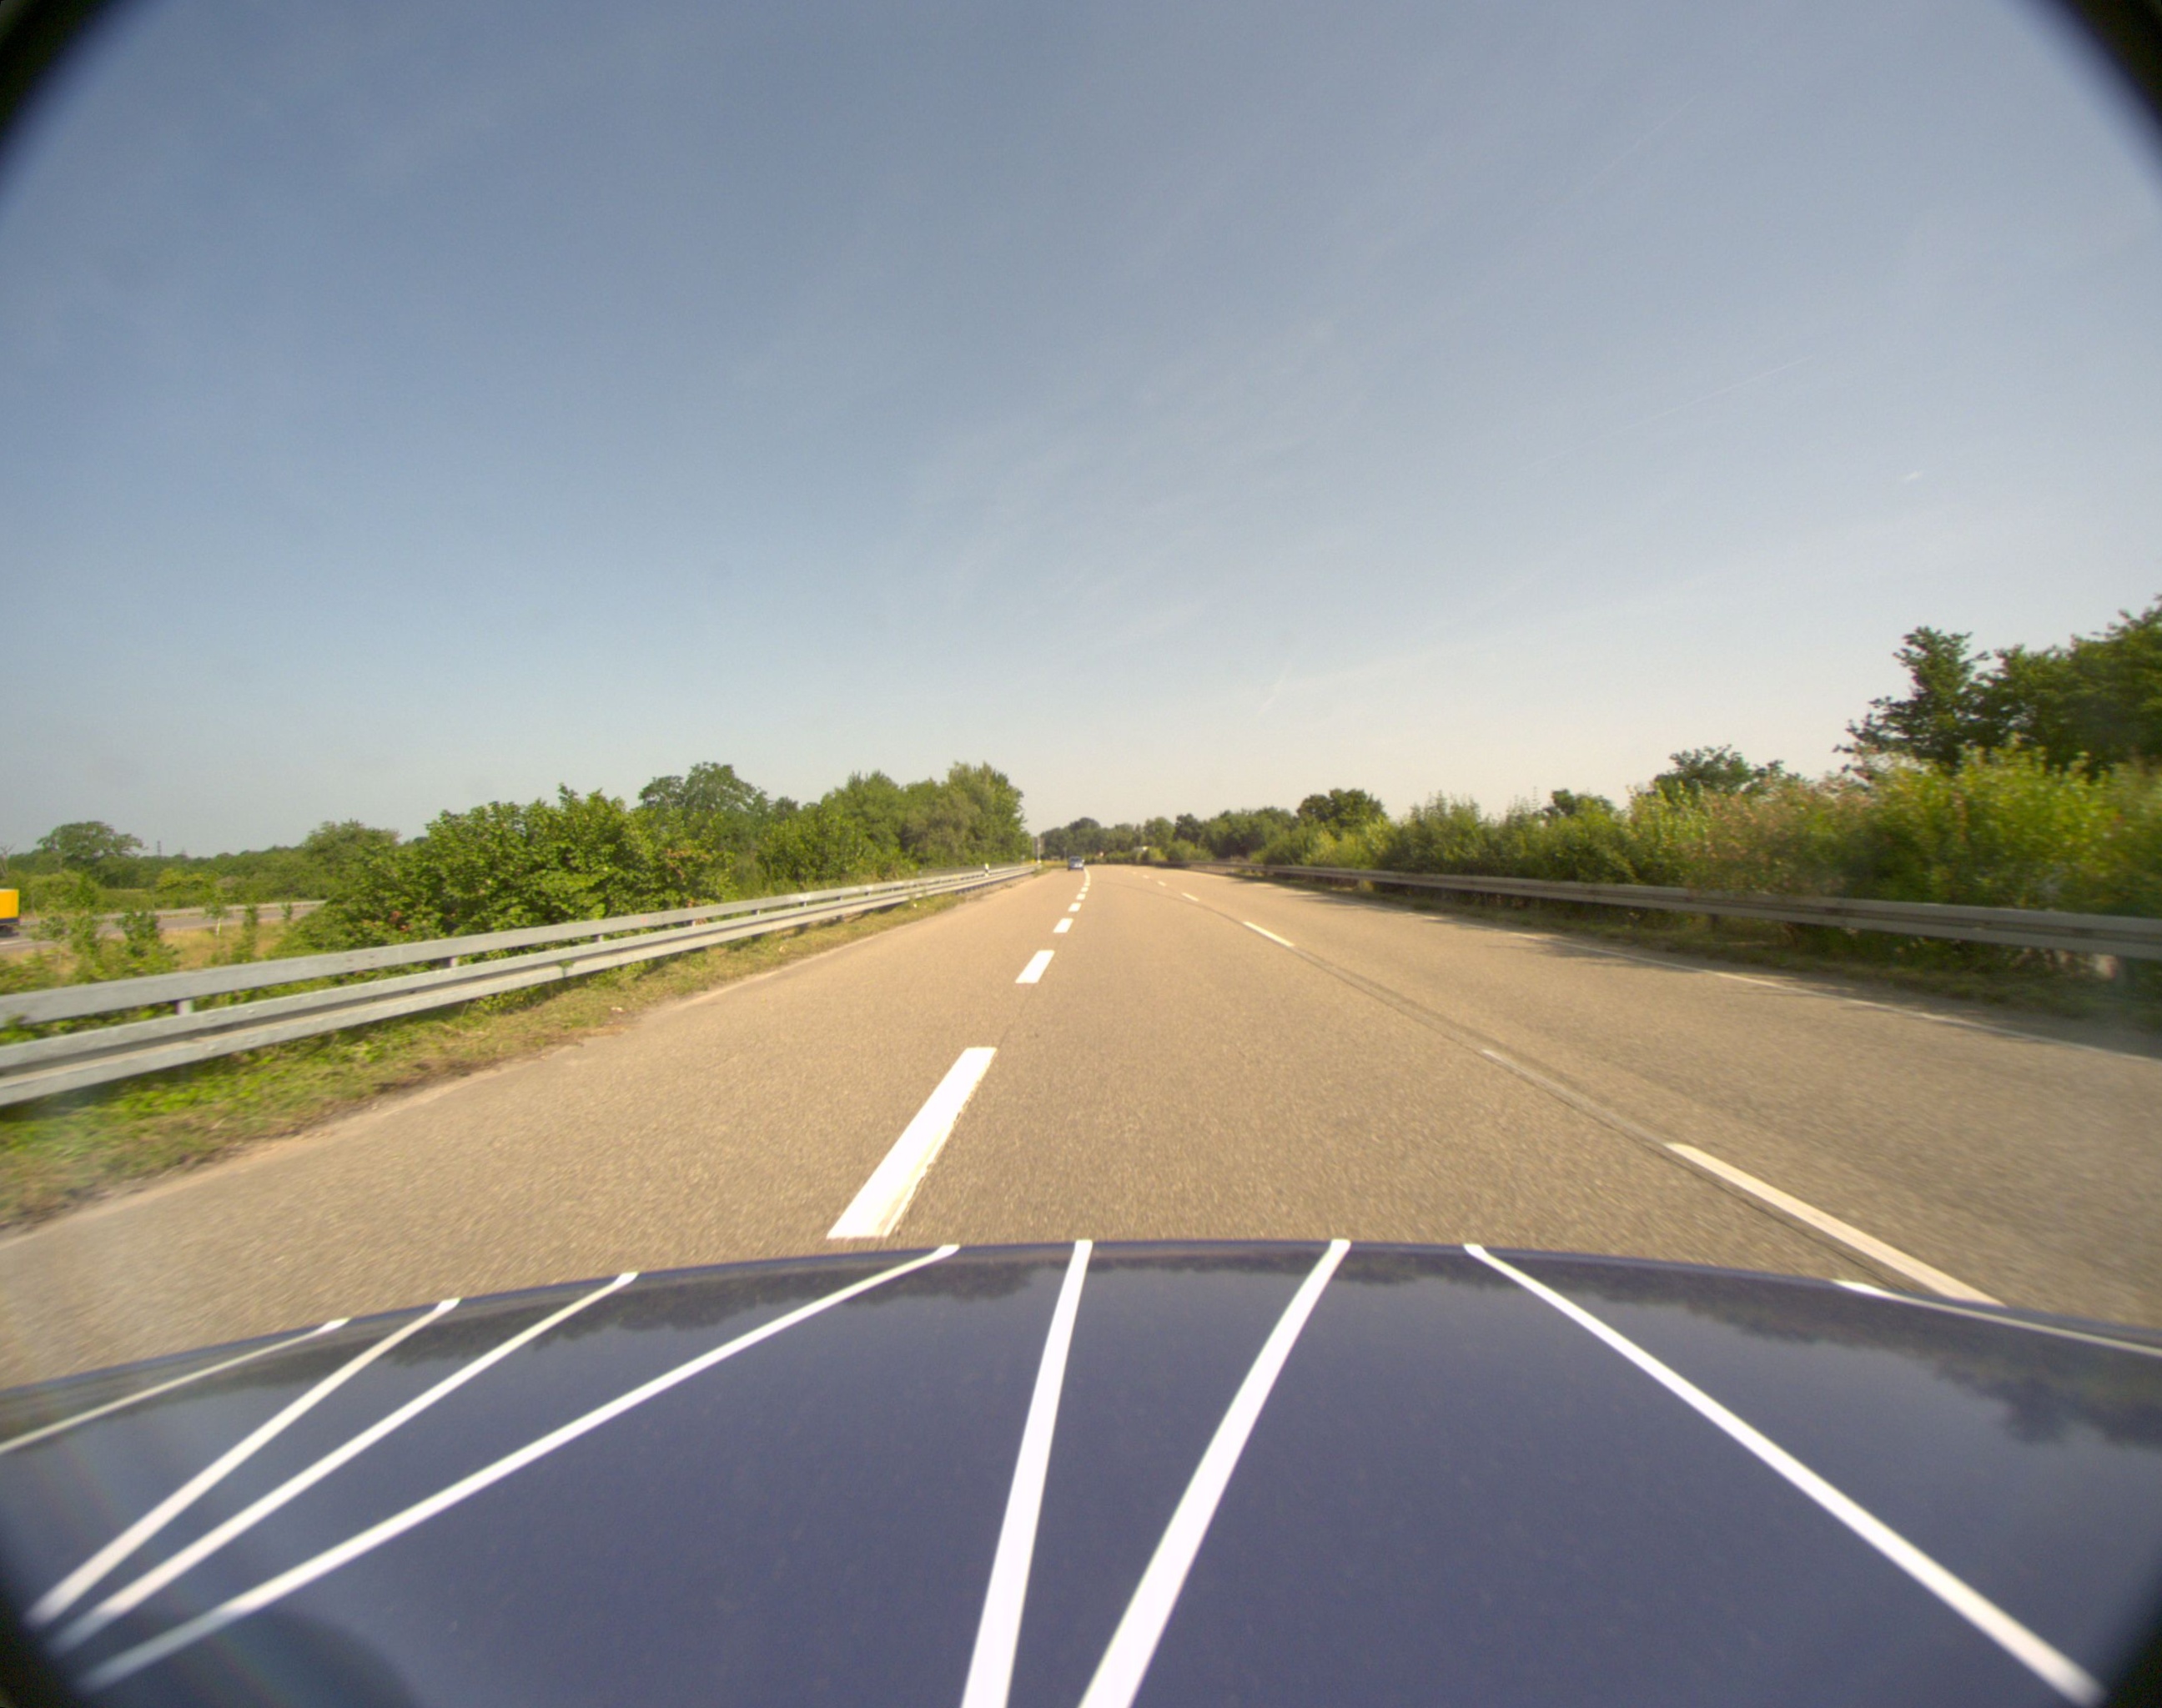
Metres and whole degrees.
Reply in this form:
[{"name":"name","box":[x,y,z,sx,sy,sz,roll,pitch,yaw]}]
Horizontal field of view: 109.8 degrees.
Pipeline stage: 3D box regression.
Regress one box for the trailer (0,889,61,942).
[{"name":"trailer","box":[-88.800,5.155,59.286,2.263,4.145,14.407,-1,0,-14]}]

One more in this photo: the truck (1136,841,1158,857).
[{"name":"truck","box":[14.964,-1.104,172.754,2.876,3.258,14.112,-2,1,-3]}]

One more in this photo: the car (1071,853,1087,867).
[{"name":"car","box":[-0.228,0.648,83.718,1.702,1.474,3.600,-3,-1,0]}]
